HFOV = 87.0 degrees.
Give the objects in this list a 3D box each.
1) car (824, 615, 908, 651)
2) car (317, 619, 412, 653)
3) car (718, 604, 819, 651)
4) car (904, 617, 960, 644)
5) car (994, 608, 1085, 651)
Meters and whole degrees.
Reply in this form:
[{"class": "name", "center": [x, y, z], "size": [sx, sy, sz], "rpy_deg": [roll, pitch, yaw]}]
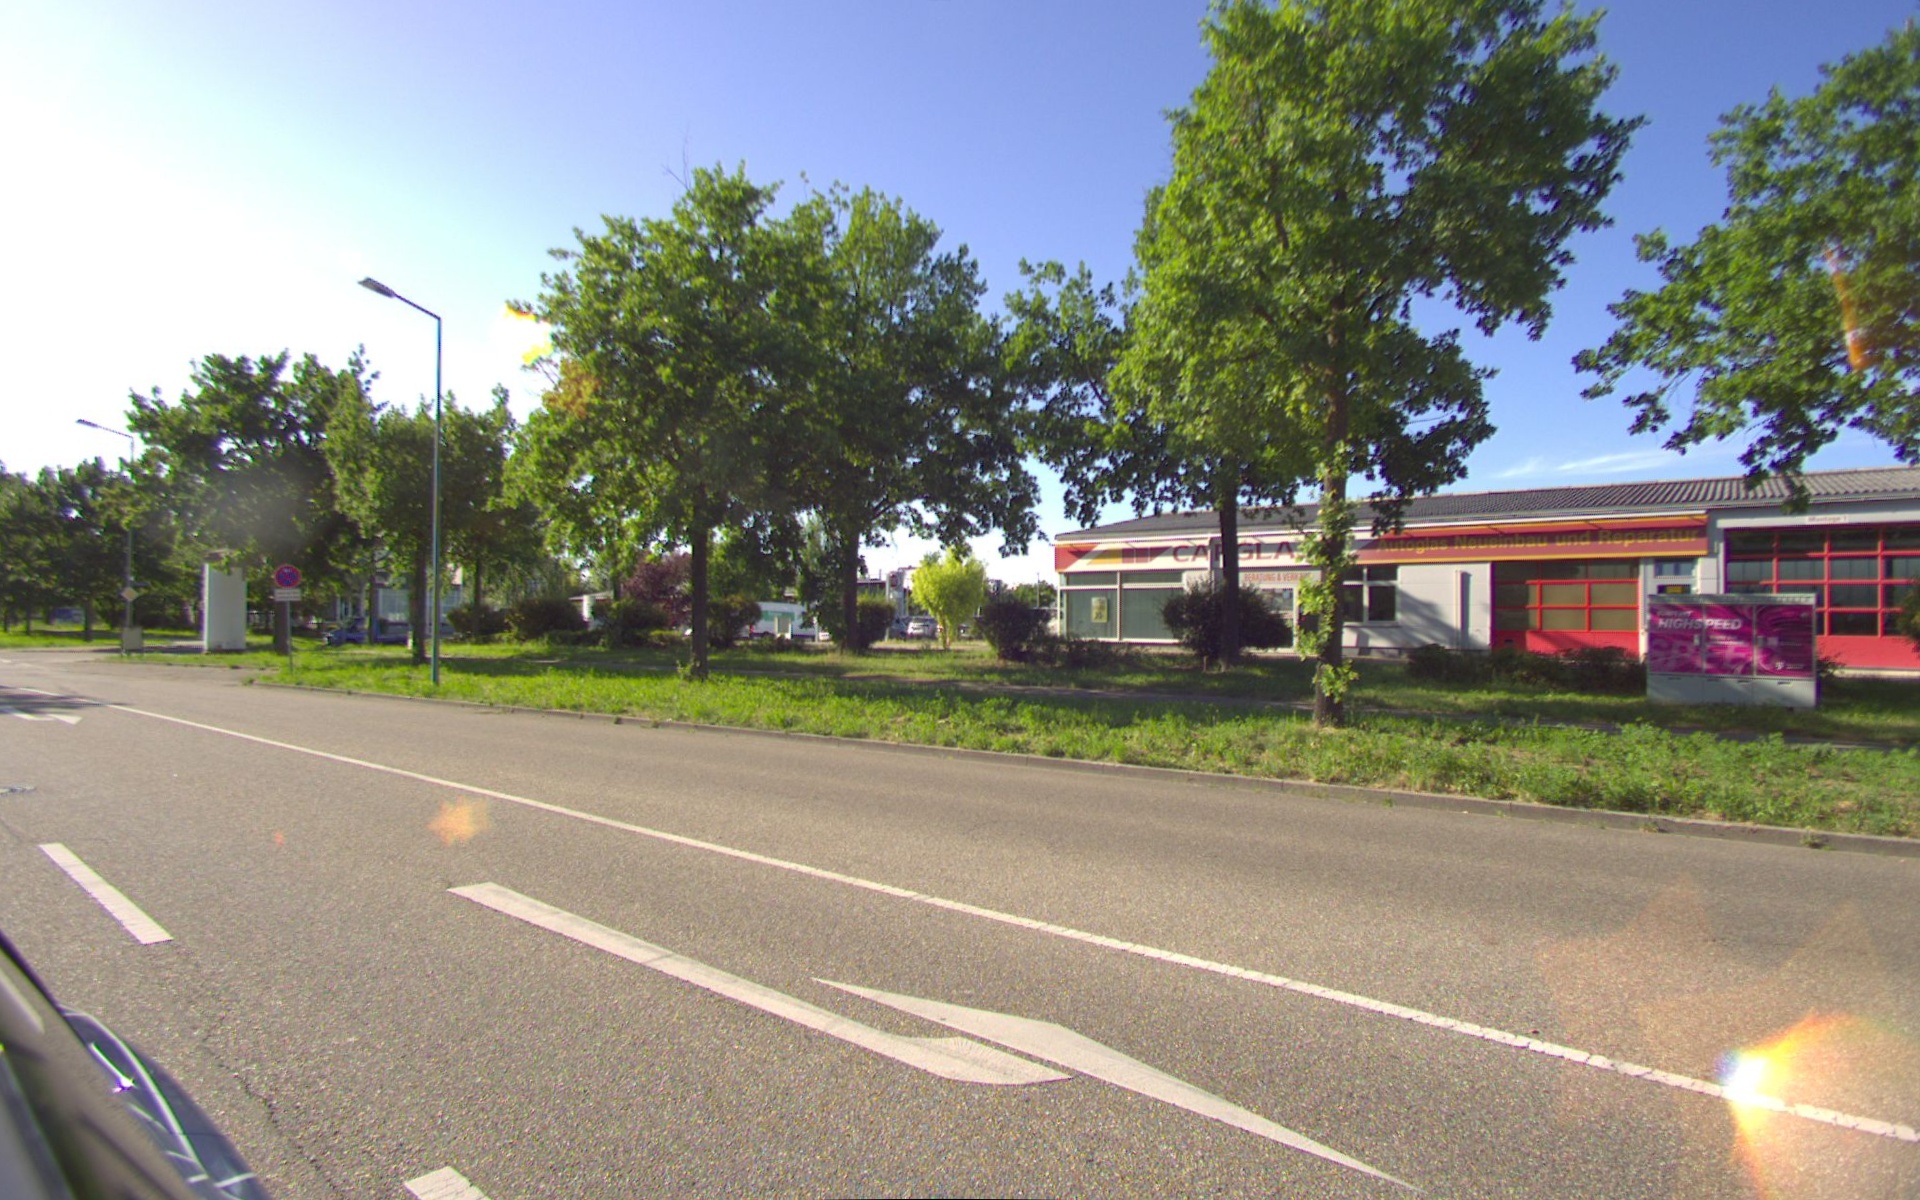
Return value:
[{"class": "car", "center": [-5.143, 1.771, 55.790], "size": [1.989, 1.795, 4.583], "rpy_deg": [-1, 0, 40]}, {"class": "car", "center": [-35.968, 2.156, 61.237], "size": [1.999, 1.847, 4.578], "rpy_deg": [-1, 0, 41]}, {"class": "car", "center": [-11.449, 1.601, 61.002], "size": [2.406, 2.574, 5.952], "rpy_deg": [-1, 0, 36]}, {"class": "car", "center": [-1.868, 2.055, 68.624], "size": [1.761, 1.684, 3.811], "rpy_deg": [-1, 0, 40]}, {"class": "car", "center": [3.215, 1.160, 40.605], "size": [1.734, 1.583, 3.769], "rpy_deg": [-3, -1, 40]}]
